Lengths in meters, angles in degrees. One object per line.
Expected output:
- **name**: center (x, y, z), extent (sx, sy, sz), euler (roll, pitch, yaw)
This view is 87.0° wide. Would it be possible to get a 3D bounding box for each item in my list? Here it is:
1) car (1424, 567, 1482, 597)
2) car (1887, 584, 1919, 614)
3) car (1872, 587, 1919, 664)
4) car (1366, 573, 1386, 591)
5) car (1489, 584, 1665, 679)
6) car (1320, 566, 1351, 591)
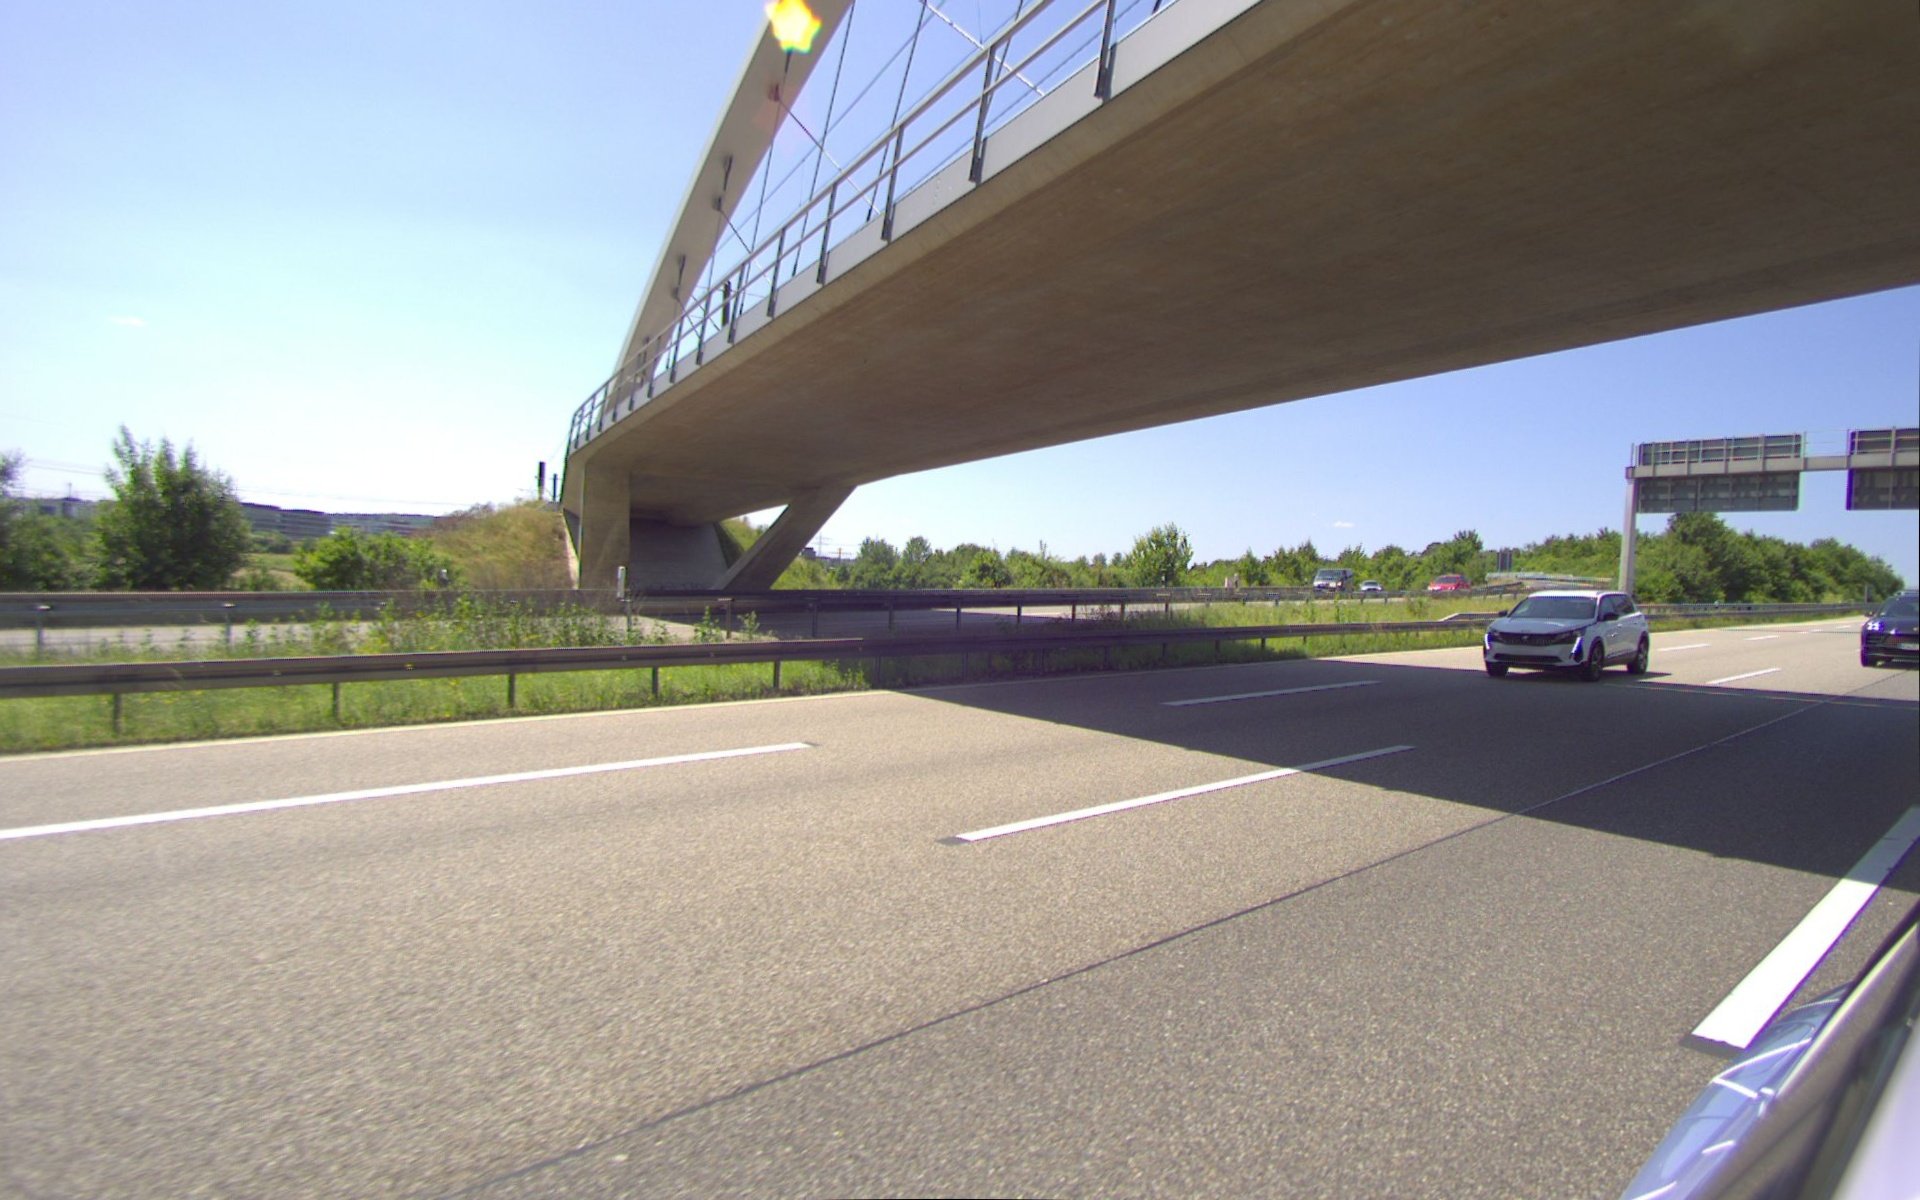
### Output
- **car**: center (27.378, -0.989, 56.144), extent (1.925, 1.615, 4.070), euler (0, 0, 42)
- **car**: center (62.344, -0.075, 66.412), extent (4.221, 1.943, 1.806), euler (-1, 0, -42)
- **car**: center (21.865, 0.517, 22.565), extent (4.062, 1.615, 1.929), euler (-1, 0, -43)
- **car**: center (38.926, -1.660, 94.655), extent (1.687, 1.594, 4.094), euler (0, 0, 24)
- **car**: center (11.946, 0.516, 19.467), extent (4.542, 1.611, 1.745), euler (-1, 0, -43)
- **car**: center (24.695, -1.368, 66.517), extent (1.687, 1.594, 4.094), euler (0, 0, 24)
